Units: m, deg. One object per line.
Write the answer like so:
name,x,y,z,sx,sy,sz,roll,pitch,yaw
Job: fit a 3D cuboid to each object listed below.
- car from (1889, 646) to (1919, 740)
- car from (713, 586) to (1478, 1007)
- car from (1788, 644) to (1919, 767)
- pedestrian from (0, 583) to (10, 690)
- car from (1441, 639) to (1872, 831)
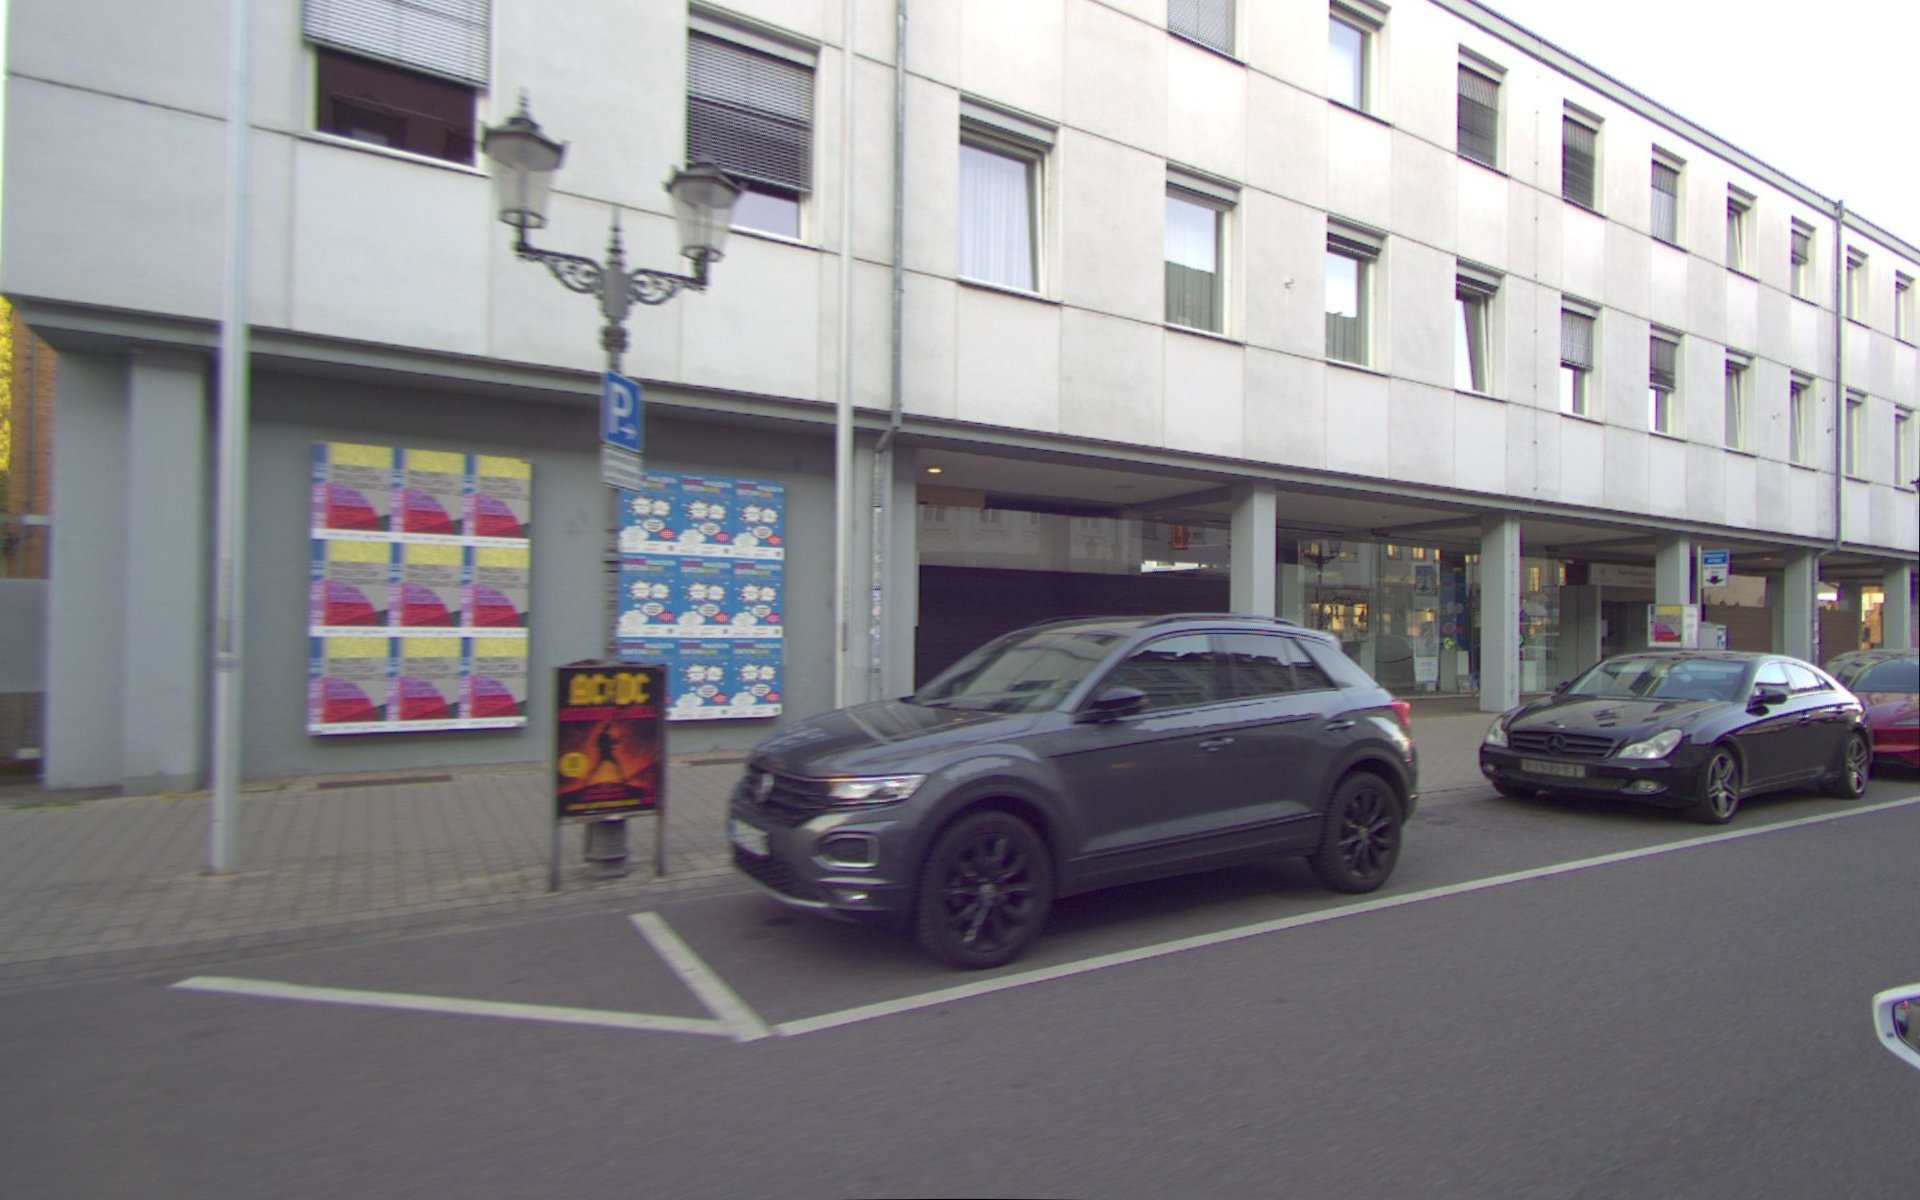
car,16.263,1.427,15.353,3.953,1.372,1.984,2,-1,-30
car,0.877,0.826,5.724,4.116,1.636,1.777,2,-2,-30
car,12.887,1.315,13.227,4.040,1.427,1.777,2,-2,-30
pedestrian,-16.770,0.619,16.978,0.765,1.828,0.700,1,-1,-16
car,6.566,1.100,9.398,4.040,1.427,1.777,2,-2,-30
